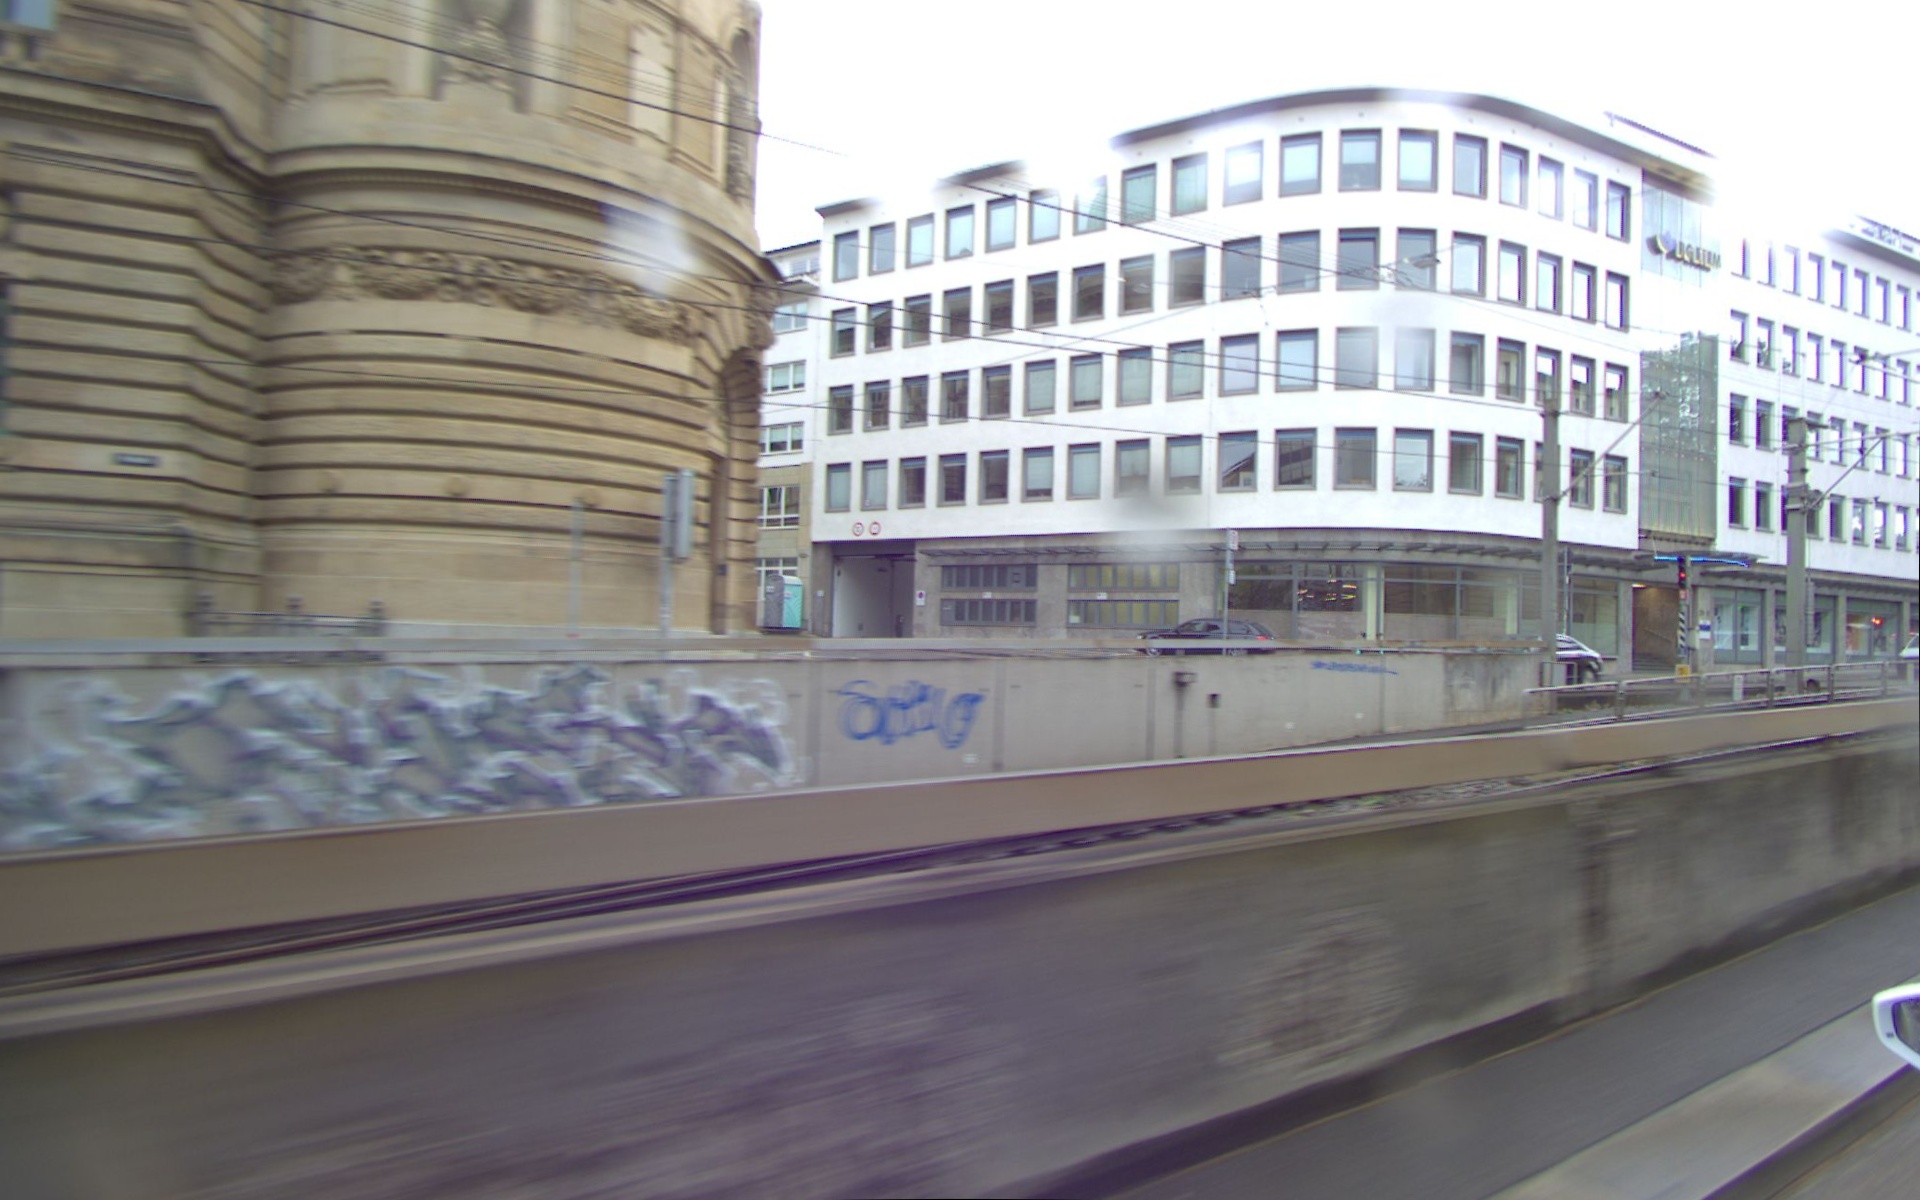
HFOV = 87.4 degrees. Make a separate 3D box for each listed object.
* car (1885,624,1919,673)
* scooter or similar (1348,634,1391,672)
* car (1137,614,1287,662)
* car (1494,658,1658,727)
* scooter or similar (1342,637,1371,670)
[{"bbox_3d":[39.681,1.976,40.510,4.864,1.908,1.986,2,-1,-27],"label":"car"},{"bbox_3d":[13.303,1.708,32.654,1.166,1.194,0.547,1,-1,-12],"label":"scooter or similar"},{"bbox_3d":[8.557,1.332,34.183,4.693,1.541,1.673,-2,-4,28],"label":"car"},{"bbox_3d":[15.613,2.288,25.472,3.616,1.548,1.986,2,-1,-27],"label":"car"},{"bbox_3d":[13.225,1.778,33.520,0.538,1.058,0.822,1,-1,-11],"label":"scooter or similar"}]
